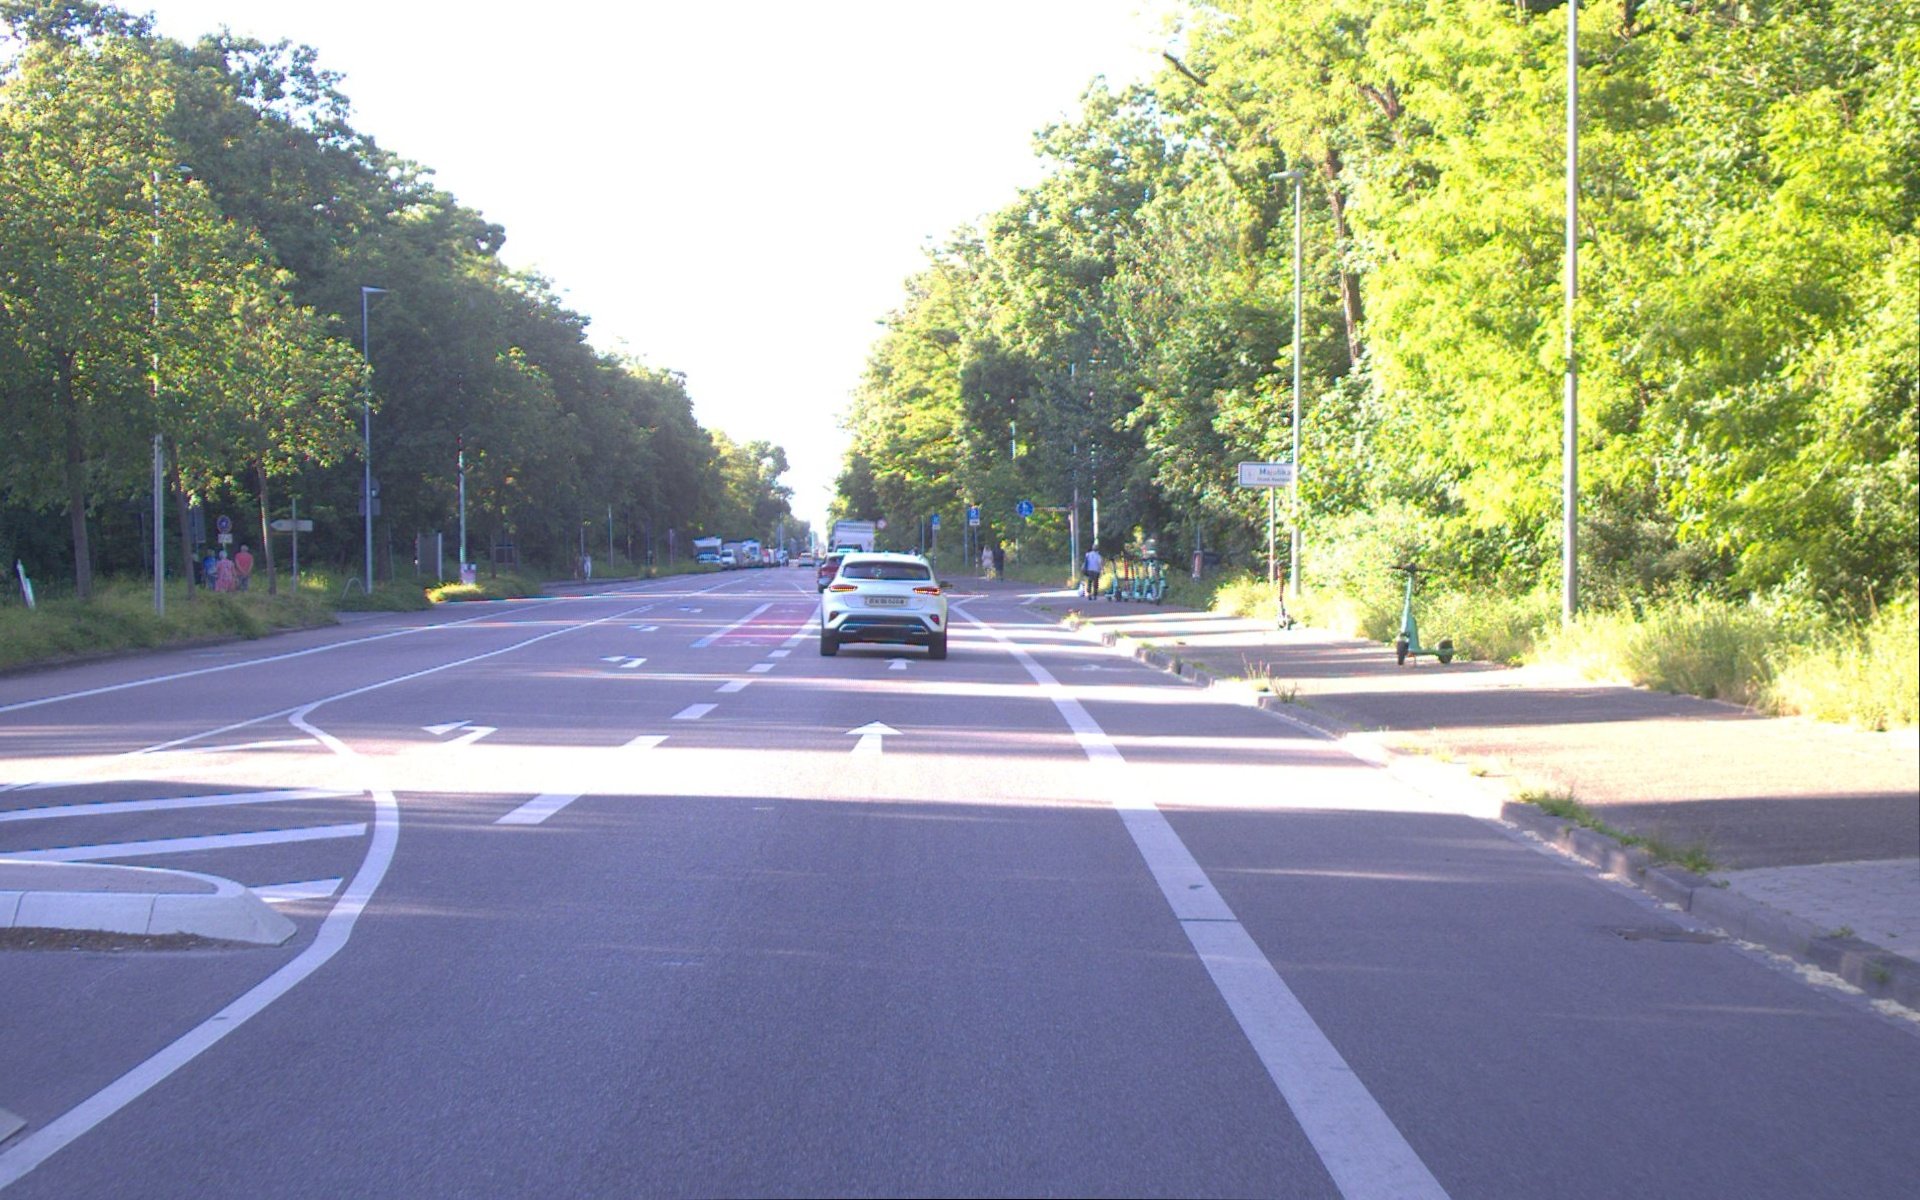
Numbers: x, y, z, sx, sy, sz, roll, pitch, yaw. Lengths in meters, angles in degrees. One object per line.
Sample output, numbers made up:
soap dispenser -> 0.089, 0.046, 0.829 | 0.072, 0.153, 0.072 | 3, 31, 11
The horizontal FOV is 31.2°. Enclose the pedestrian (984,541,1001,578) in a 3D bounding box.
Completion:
pedestrian -> 1.464, -1.811, 154.730 | 0.698, 1.647, 0.876 | -1, 1, -2

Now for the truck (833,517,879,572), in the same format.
truck -> -6.886, -3.672, 227.106 | 2.799, 3.558, 8.036 | 1, 1, -3

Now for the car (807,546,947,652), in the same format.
car -> -1.243, -0.039, 50.181 | 1.761, 1.454, 3.818 | 1, 1, -5

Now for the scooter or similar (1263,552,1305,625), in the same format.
scooter or similar -> 5.616, -0.209, 59.674 | 0.533, 1.245, 1.541 | -1, 1, -1

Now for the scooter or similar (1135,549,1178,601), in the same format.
scooter or similar -> 4.984, -0.642, 87.288 | 0.465, 1.302, 1.481 | -1, 1, -23

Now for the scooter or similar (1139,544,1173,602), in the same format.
scooter or similar -> 4.859, -0.670, 85.431 | 0.682, 1.418, 1.682 | -1, 1, -2

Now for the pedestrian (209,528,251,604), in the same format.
pedestrian -> -19.514, -0.909, 91.912 | 0.795, 2.007, 0.719 | -1, 1, -42

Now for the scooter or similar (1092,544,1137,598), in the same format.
scooter or similar -> 4.184, -0.791, 93.123 | 0.682, 1.418, 1.682 | -1, 1, -17

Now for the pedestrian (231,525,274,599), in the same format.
pedestrian -> -19.381, -1.035, 94.203 | 0.718, 2.007, 0.873 | 0, 1, 30

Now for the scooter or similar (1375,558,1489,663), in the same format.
scooter or similar -> 5.746, 0.115, 41.821 | 1.537, 1.245, 0.534 | -1, 1, -44

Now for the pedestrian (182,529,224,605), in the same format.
pedestrian -> -20.115, -0.880, 91.380 | 0.795, 2.007, 0.719 | -1, 1, -43

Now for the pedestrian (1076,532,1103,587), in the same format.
pedestrian -> 3.732, -1.162, 98.998 | 0.755, 1.558, 0.802 | -1, 1, 3

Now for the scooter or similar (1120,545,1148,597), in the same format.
scooter or similar -> 4.854, -0.813, 95.960 | 0.682, 1.418, 1.245 | 0, 1, 7

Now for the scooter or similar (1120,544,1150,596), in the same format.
scooter or similar -> 4.792, -0.825, 94.445 | 0.682, 1.418, 1.682 | -1, 1, -1

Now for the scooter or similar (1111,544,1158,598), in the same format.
scooter or similar -> 4.637, -0.769, 91.451 | 0.682, 1.418, 1.682 | -1, 1, -17

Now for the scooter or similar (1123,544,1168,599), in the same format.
scooter or similar -> 4.814, -0.739, 89.382 | 0.682, 1.418, 1.682 | -1, 1, -15

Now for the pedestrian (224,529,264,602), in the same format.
pedestrian -> -19.631, -0.949, 94.235 | 0.718, 2.007, 0.746 | 0, 1, 30

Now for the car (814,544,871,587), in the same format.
car -> -4.214, -1.244, 123.717 | 1.993, 1.514, 4.000 | -1, 1, -1

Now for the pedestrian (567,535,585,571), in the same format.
pedestrian -> -21.782, -2.662, 195.027 | 0.863, 2.007, 1.269 | -1, 1, 0
